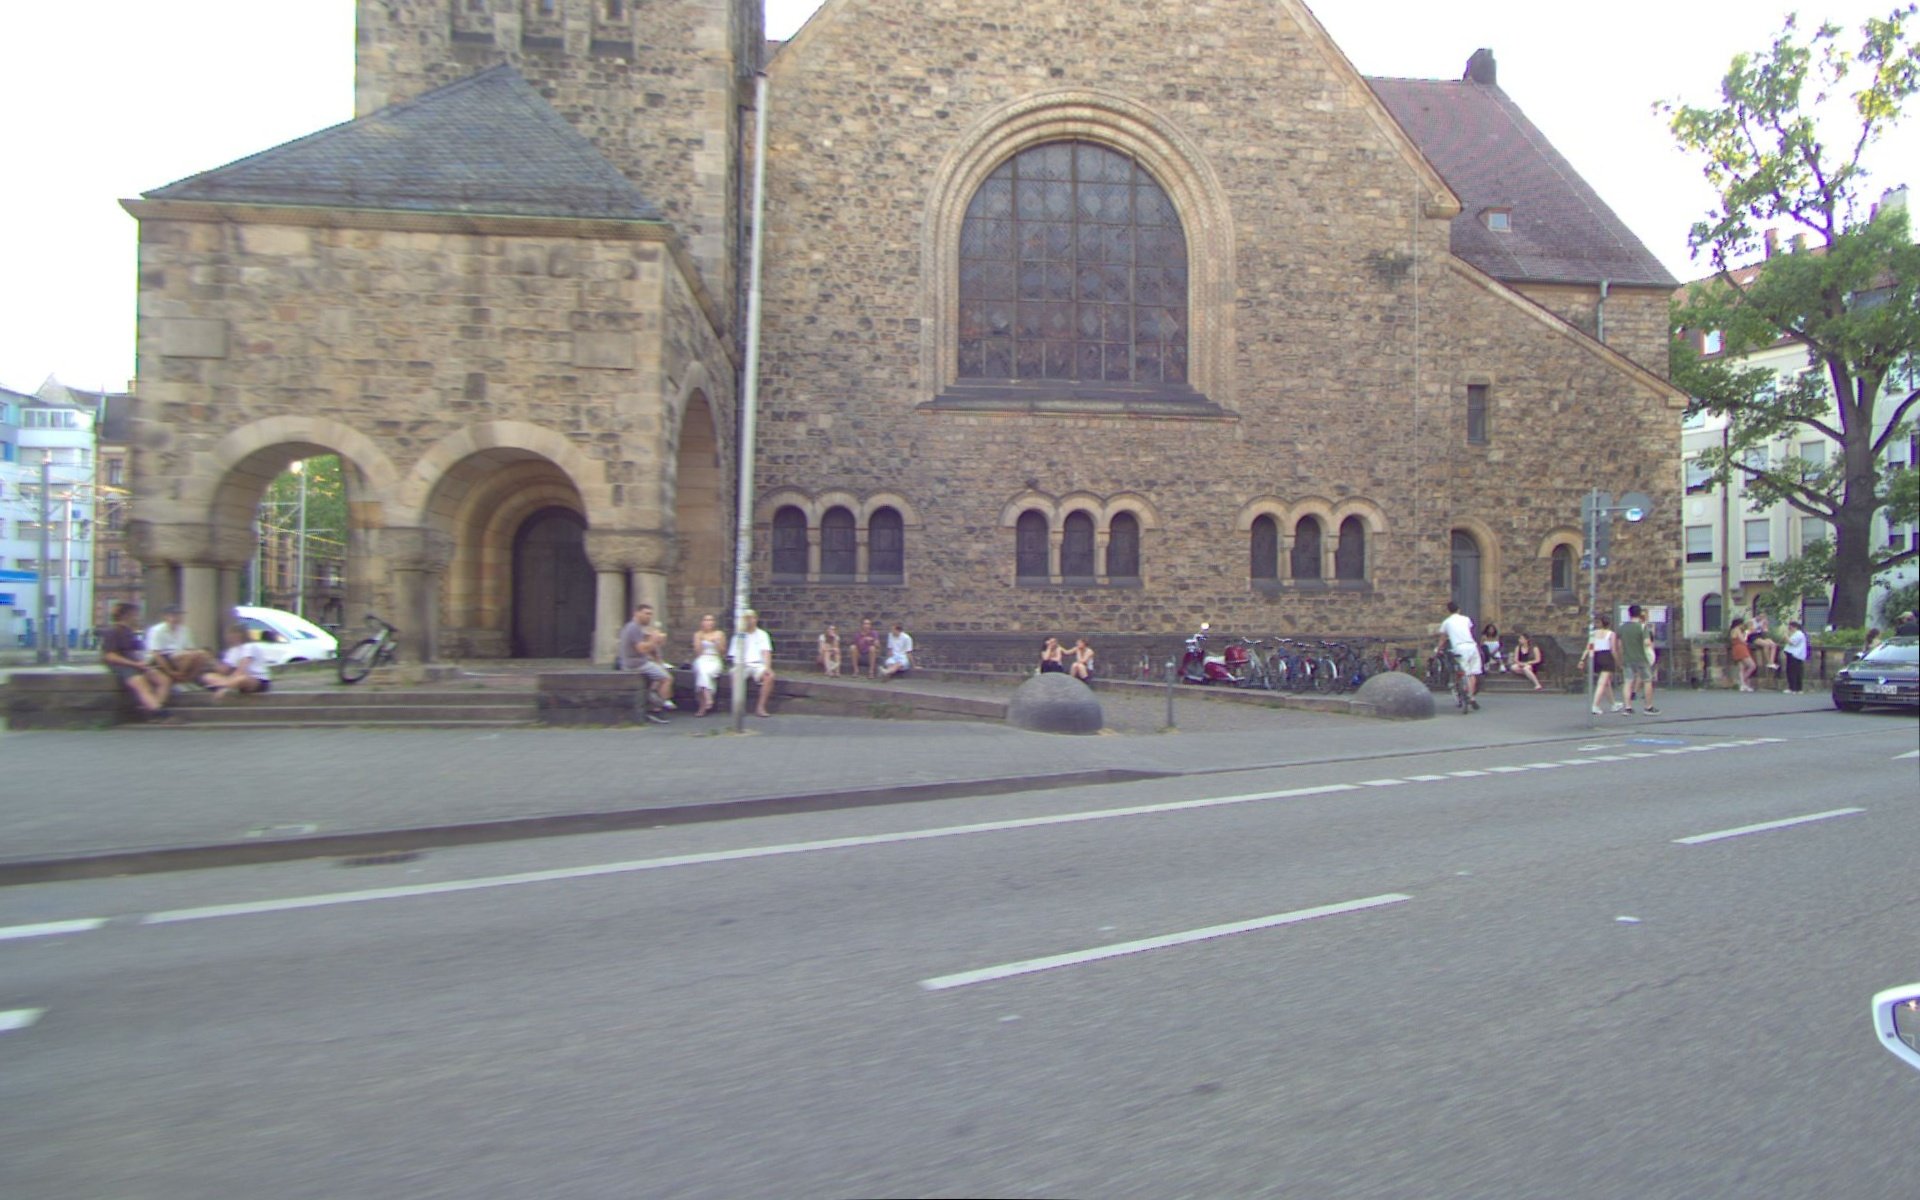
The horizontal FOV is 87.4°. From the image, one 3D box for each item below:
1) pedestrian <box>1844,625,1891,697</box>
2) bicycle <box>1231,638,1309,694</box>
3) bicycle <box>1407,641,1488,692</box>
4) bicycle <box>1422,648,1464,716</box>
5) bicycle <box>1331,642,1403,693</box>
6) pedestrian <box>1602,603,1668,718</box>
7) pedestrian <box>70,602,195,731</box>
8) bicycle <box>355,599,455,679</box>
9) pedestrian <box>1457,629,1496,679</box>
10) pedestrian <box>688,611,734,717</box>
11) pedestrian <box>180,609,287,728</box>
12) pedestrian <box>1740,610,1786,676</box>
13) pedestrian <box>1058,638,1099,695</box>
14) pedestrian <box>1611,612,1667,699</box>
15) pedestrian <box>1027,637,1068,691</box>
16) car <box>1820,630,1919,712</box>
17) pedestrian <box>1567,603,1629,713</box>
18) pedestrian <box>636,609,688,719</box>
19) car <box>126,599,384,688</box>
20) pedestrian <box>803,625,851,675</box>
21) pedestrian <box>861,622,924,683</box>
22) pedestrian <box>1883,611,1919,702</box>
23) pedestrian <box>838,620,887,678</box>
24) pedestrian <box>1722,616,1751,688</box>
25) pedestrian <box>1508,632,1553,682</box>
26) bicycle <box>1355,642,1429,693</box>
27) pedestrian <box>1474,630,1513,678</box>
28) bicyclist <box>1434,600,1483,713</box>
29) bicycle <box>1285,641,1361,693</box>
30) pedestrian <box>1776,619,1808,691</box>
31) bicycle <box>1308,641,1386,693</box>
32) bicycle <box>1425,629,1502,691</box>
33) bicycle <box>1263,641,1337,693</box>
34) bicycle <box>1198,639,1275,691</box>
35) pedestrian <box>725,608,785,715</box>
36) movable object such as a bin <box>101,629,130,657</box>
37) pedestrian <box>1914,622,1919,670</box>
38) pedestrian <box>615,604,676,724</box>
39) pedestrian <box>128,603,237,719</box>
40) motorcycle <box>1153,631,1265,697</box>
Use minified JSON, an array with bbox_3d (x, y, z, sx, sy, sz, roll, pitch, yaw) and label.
[{"bbox_3d":[20.176,1.345,22.323,0.830,1.572,0.579,1,-1,-33],"label":"pedestrian"},{"bbox_3d":[6.377,1.336,20.780,0.576,1.002,2.002,1,1,-14],"label":"bicycle"},{"bbox_3d":[10.281,1.389,21.263,0.434,1.002,1.879,1,-2,-14],"label":"bicycle"},{"bbox_3d":[8.488,1.407,17.694,0.542,1.026,2.187,1,0,23],"label":"bicycle"},{"bbox_3d":[8.499,1.394,21.049,0.364,1.002,1.879,1,-2,-14],"label":"bicycle"},{"bbox_3d":[11.522,1.010,17.136,0.882,1.904,0.643,1,-1,-33],"label":"pedestrian"},{"bbox_3d":[-9.716,0.769,11.820,0.897,1.473,0.630,0,-2,-3],"label":"pedestrian"},{"bbox_3d":[-7.975,0.560,14.542,0.584,1.071,2.282,1,-2,-11],"label":"bicycle"},{"bbox_3d":[11.293,1.164,21.955,0.726,1.062,0.519,0,-1,31],"label":"pedestrian"},{"bbox_3d":[-3.416,0.871,13.805,0.449,1.425,0.548,0,-1,5],"label":"pedestrian"},{"bbox_3d":[-8.892,0.822,12.316,0.686,1.393,0.803,0,-2,22],"label":"pedestrian"},{"bbox_3d":[19.329,1.031,24.195,0.574,1.566,0.652,1,-1,-6],"label":"pedestrian"},{"bbox_3d":[2.193,1.213,18.512,0.551,1.004,0.695,0,-2,27],"label":"pedestrian"},{"bbox_3d":[13.950,1.137,20.632,0.683,1.748,0.711,1,-2,-29],"label":"pedestrian"},{"bbox_3d":[1.641,1.176,18.735,0.551,0.980,0.649,0,-2,27],"label":"pedestrian"},{"bbox_3d":[18.697,1.322,19.401,4.262,1.454,1.776,1,-2,-29],"label":"car"},{"bbox_3d":[11.228,1.010,17.680,0.978,1.881,0.569,1,-1,-33],"label":"pedestrian"},{"bbox_3d":[-3.929,0.838,13.256,0.537,1.425,0.402,0,-1,5],"label":"pedestrian"},{"bbox_3d":[-15.122,0.941,21.715,4.321,1.832,1.584,1,-2,-4],"label":"car"},{"bbox_3d":[-2.549,0.954,19.259,0.635,0.928,0.740,0,-2,21],"label":"pedestrian"},{"bbox_3d":[-1.253,0.969,18.901,0.672,1.109,1.333,0,-2,21],"label":"pedestrian"},{"bbox_3d":[20.595,1.223,21.832,0.794,1.930,0.579,1,-2,-33],"label":"pedestrian"},{"bbox_3d":[-1.856,0.927,19.242,0.635,1.090,0.830,0,-2,21],"label":"pedestrian"},{"bbox_3d":[18.522,1.225,23.957,0.407,1.696,0.548,0,-1,21],"label":"pedestrian"},{"bbox_3d":[12.365,1.233,21.791,0.688,1.070,0.516,1,-1,-13],"label":"pedestrian"},{"bbox_3d":[9.048,1.404,21.124,0.364,1.002,1.879,1,-2,-14],"label":"bicycle"},{"bbox_3d":[11.882,1.195,22.373,0.596,1.062,0.498,1,-1,-9],"label":"pedestrian"},{"bbox_3d":[8.711,0.967,17.576,0.694,1.905,0.942,1,0,24],"label":"bicyclist"},{"bbox_3d":[7.527,1.377,20.944,0.458,1.002,2.003,1,-2,-14],"label":"bicycle"},{"bbox_3d":[19.347,1.272,23.352,0.407,1.643,0.548,0,-1,21],"label":"pedestrian"},{"bbox_3d":[8.062,1.379,21.025,0.458,1.002,1.985,1,-2,-14],"label":"bicycle"},{"bbox_3d":[10.697,1.257,21.398,0.430,1.265,1.728,1,-2,-15],"label":"bicycle"},{"bbox_3d":[7.029,1.370,20.871,0.458,1.002,2.003,1,-2,-14],"label":"bicycle"},{"bbox_3d":[5.652,1.309,20.672,0.576,1.002,2.001,1,-2,-16],"label":"bicycle"},{"bbox_3d":[-2.812,0.835,13.821,0.619,1.425,0.704,0,-1,5],"label":"pedestrian"},{"bbox_3d":[-62.546,3.148,74.420,1.478,2.040,1.347,1,-2,-34],"label":"movable object such as a bin"},{"bbox_3d":[35.692,1.684,36.937,0.827,1.743,0.702,1,-2,-31],"label":"pedestrian"},{"bbox_3d":[-3.959,0.800,12.672,0.546,1.472,0.551,0,-1,5],"label":"pedestrian"},{"bbox_3d":[-9.705,0.751,12.568,0.685,1.393,0.804,0,-2,4],"label":"pedestrian"},{"bbox_3d":[4.909,1.234,20.018,0.811,1.141,2.407,1,0,-25],"label":"motorcycle"}]
